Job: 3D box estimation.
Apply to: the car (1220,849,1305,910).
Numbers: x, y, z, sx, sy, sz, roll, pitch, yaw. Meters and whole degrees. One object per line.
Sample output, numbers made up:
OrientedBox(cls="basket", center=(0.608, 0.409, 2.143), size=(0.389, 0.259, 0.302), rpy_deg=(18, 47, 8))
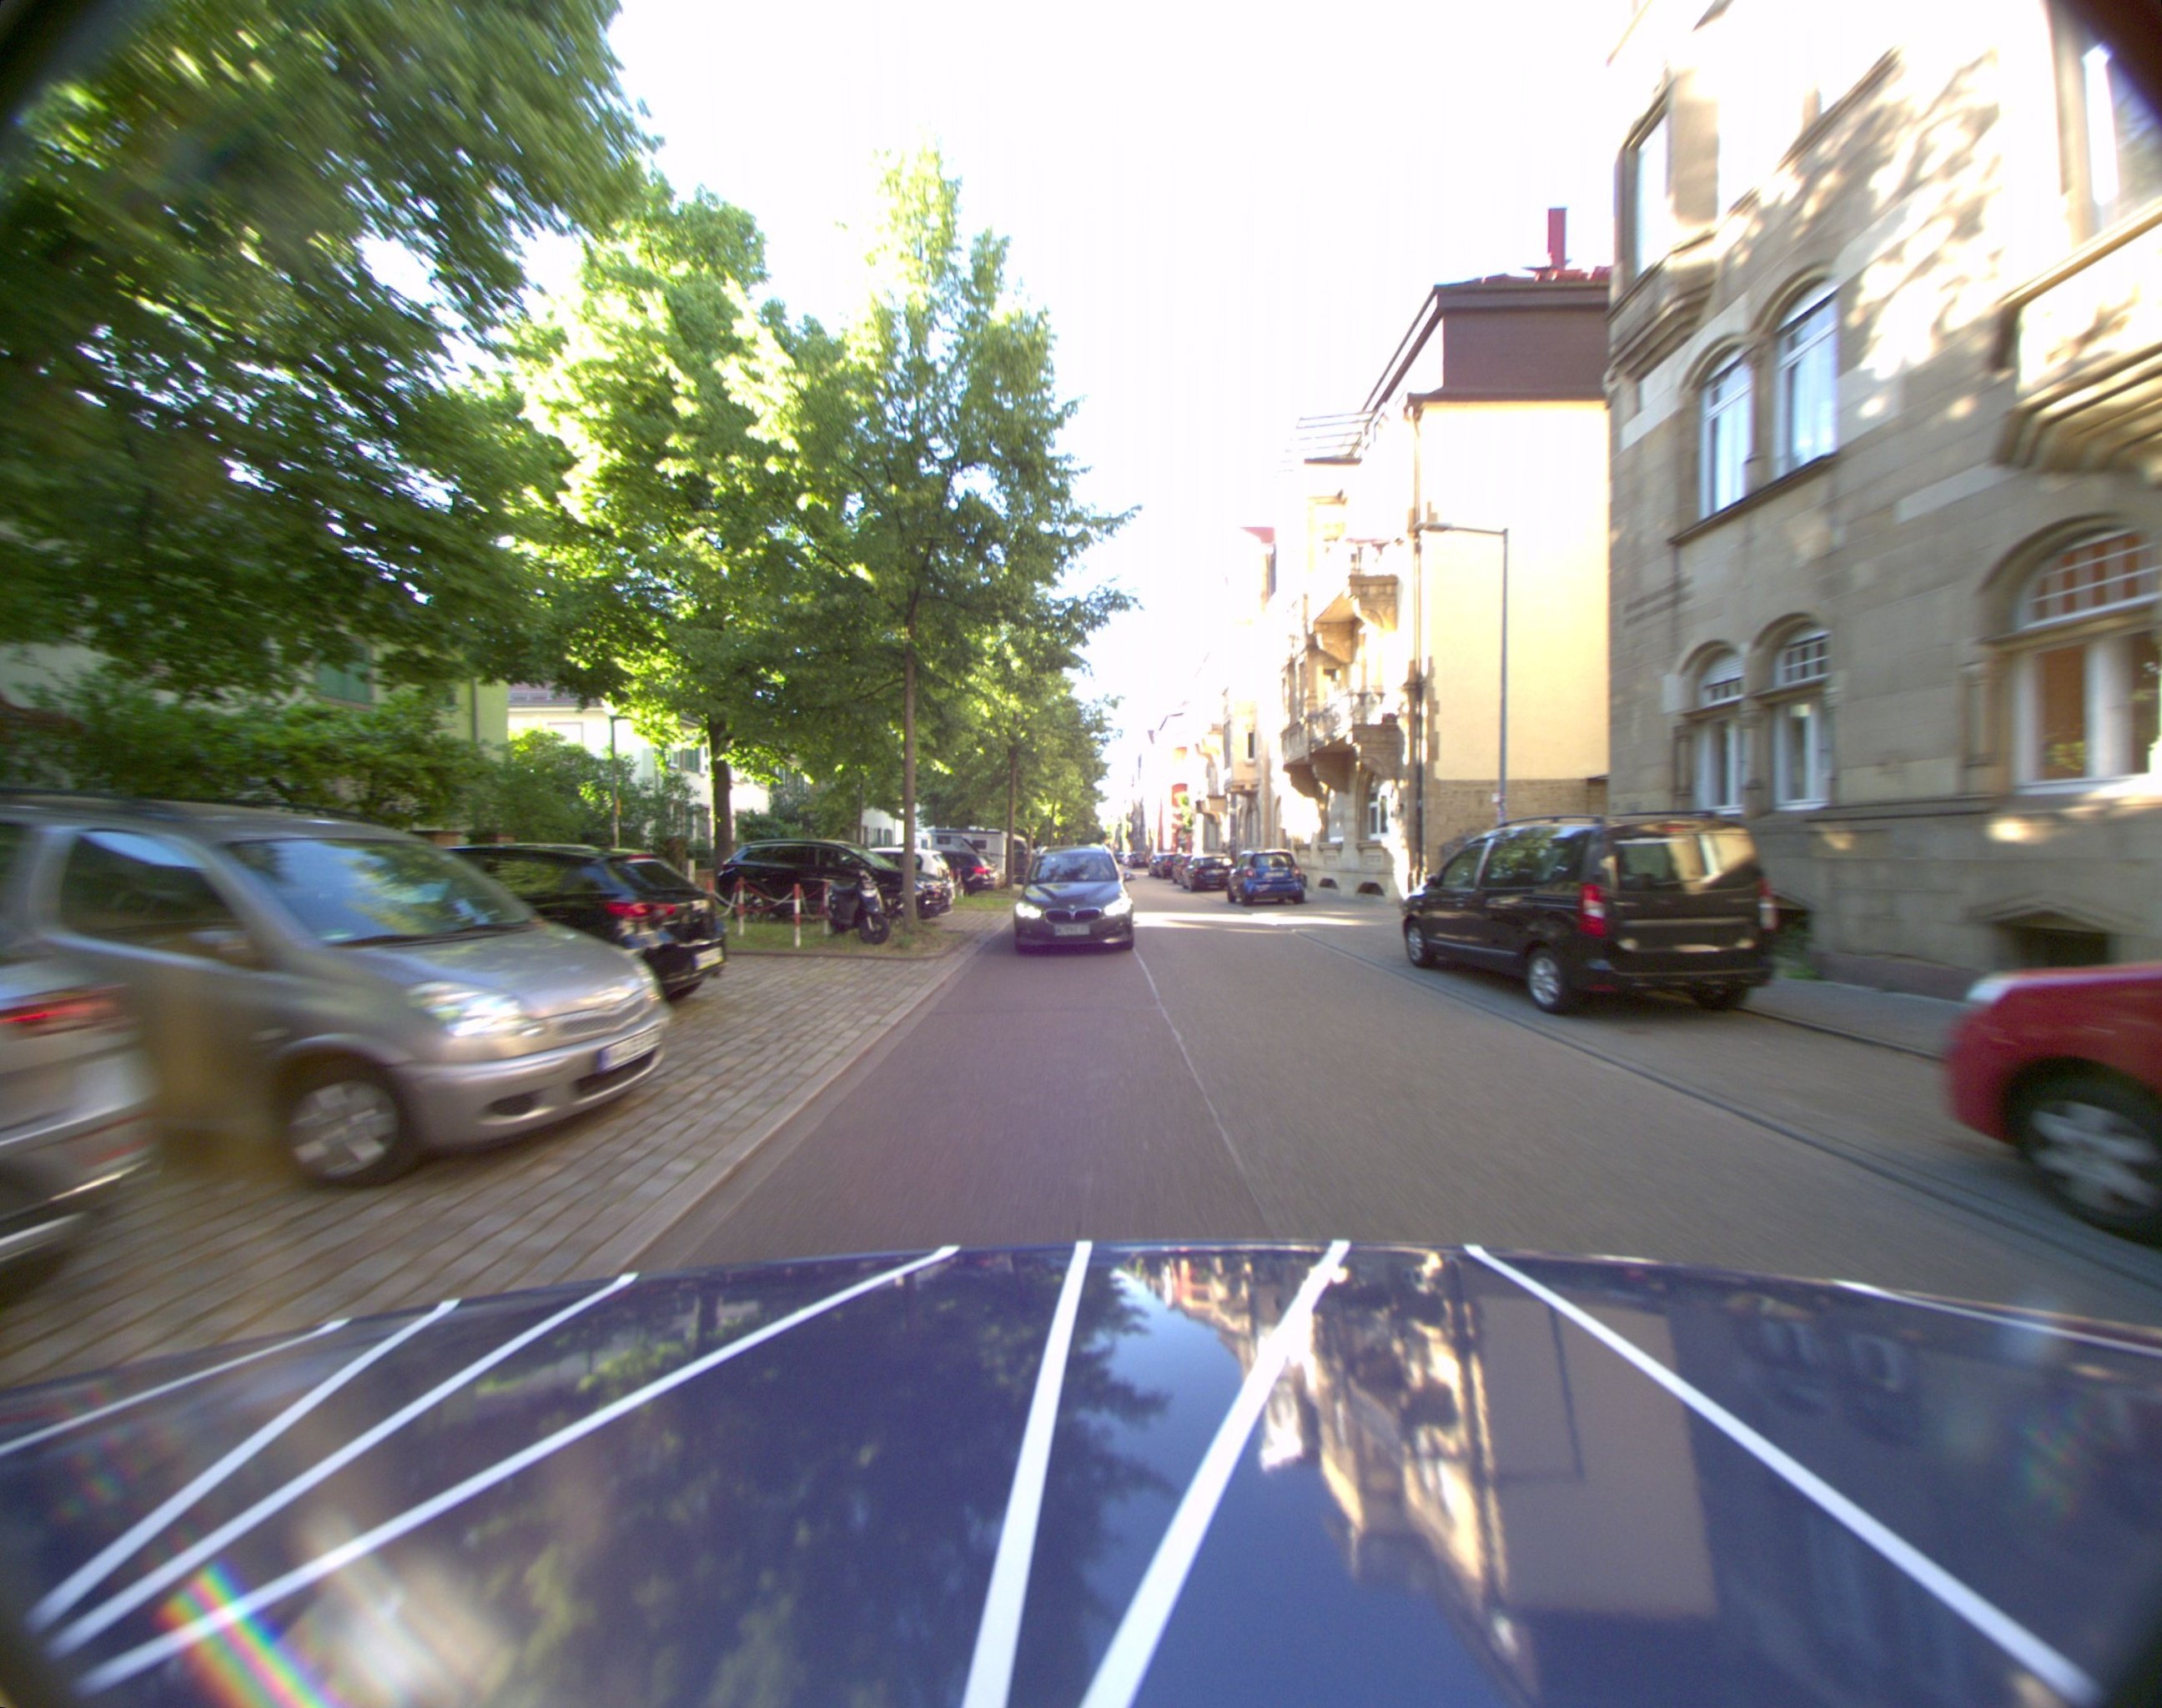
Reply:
OrientedBox(cls="car", center=(5.073, 0.673, 21.536), size=(1.688, 1.500, 2.861), rpy_deg=(-4, 0, 1))

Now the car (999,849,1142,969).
OrientedBox(cls="car", center=(-0.096, 0.757, 12.917), size=(1.924, 1.597, 4.517), rpy_deg=(-3, 0, 1))

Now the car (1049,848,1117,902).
OrientedBox(cls="car", center=(-0.031, 0.651, 25.243), size=(1.999, 1.584, 4.261), rpy_deg=(-2, 0, -3))

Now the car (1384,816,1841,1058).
OrientedBox(cls="car", center=(5.025, 0.639, 8.159), size=(1.774, 1.841, 4.542), rpy_deg=(-1, 0, 1))

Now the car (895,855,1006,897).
OrientedBox(cls="car", center=(-4.963, 0.802, 29.335), size=(3.998, 1.510, 1.999), rpy_deg=(0, 2, -2))

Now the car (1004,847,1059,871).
OrientedBox(cls="car", center=(-3.747, 0.404, 58.046), size=(3.997, 1.804, 2.000), rpy_deg=(0, 1, 1))

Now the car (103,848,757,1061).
OrientedBox(cls="car", center=(-5.079, 0.749, 6.438), size=(3.886, 1.464, 1.786), rpy_deg=(2, 1, -4))

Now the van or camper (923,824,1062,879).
OrientedBox(cls="van or camper", center=(-4.696, -0.142, 41.367), size=(7.266, 2.888, 2.427), rpy_deg=(0, 2, 1))

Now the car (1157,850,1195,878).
OrientedBox(cls="car", center=(5.392, 0.564, 43.502), size=(1.747, 1.457, 3.998), rpy_deg=(-2, 1, 2))

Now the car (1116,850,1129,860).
OrientedBox(cls="car", center=(6.146, 0.158, 111.983), size=(1.702, 1.372, 4.000), rpy_deg=(0, 0, 1))

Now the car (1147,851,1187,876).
OrientedBox(cls="car", center=(5.533, 0.573, 49.462), size=(1.893, 1.448, 4.510), rpy_deg=(-4, 0, -1))

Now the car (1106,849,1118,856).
OrientedBox(cls="car", center=(7.191, -0.255, 176.524), size=(2.000, 1.529, 3.997), rpy_deg=(-2, 0, -7))

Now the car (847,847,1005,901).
OrientedBox(cls="car", center=(-4.746, 0.594, 23.665), size=(4.468, 1.469, 1.753), rpy_deg=(2, 1, 2))

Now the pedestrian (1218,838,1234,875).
OrientedBox(cls="pedestrian", center=(7.380, 0.130, 38.685), size=(0.695, 1.837, 0.497), rpy_deg=(-2, 1, 3))

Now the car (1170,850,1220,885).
OrientedBox(cls="car", center=(5.394, 0.594, 36.408), size=(1.694, 1.458, 3.773), rpy_deg=(-4, 1, -1))

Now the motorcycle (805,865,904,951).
OrientedBox(cls="motorcycle", center=(-3.495, 0.774, 11.623), size=(0.739, 1.190, 1.771), rpy_deg=(-1, 1, -43))

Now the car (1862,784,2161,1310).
OrientedBox(cls="car", center=(4.750, 0.678, 1.597), size=(1.803, 1.896, 4.324), rpy_deg=(-2, 1, 1))

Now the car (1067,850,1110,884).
OrientedBox(cls="car", center=(0.399, 0.605, 38.764), size=(1.998, 1.510, 4.651), rpy_deg=(-3, 0, 1))

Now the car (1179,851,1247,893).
OrientedBox(cls="car", center=(5.192, 0.668, 30.499), size=(1.905, 1.430, 4.541), rpy_deg=(-4, 0, 1))

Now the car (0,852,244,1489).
OrientedBox(cls="car", center=(-4.748, 0.755, 1.617), size=(3.971, 1.590, 1.903), rpy_deg=(3, 2, 3))

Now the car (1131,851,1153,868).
OrientedBox(cls="car", center=(6.063, 0.506, 75.639), size=(1.862, 1.595, 4.000), rpy_deg=(-3, 0, 1))

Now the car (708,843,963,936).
OrientedBox(cls="car", center=(-4.634, 0.636, 14.845), size=(4.344, 1.599, 1.927), rpy_deg=(1, 1, 0))

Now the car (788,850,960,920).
OrientedBox(cls="car", center=(-4.657, 0.676, 17.464), size=(3.456, 1.467, 1.693), rpy_deg=(1, 1, 1))

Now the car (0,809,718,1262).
OrientedBox(cls="car", center=(-4.281, 0.692, 3.936), size=(3.924, 1.734, 1.729), rpy_deg=(2, 1, 1))

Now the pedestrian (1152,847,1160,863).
OrientedBox(cls="pedestrian", center=(8.310, 0.126, 84.104), size=(0.779, 1.693, 1.010), rpy_deg=(0, 1, 1))
